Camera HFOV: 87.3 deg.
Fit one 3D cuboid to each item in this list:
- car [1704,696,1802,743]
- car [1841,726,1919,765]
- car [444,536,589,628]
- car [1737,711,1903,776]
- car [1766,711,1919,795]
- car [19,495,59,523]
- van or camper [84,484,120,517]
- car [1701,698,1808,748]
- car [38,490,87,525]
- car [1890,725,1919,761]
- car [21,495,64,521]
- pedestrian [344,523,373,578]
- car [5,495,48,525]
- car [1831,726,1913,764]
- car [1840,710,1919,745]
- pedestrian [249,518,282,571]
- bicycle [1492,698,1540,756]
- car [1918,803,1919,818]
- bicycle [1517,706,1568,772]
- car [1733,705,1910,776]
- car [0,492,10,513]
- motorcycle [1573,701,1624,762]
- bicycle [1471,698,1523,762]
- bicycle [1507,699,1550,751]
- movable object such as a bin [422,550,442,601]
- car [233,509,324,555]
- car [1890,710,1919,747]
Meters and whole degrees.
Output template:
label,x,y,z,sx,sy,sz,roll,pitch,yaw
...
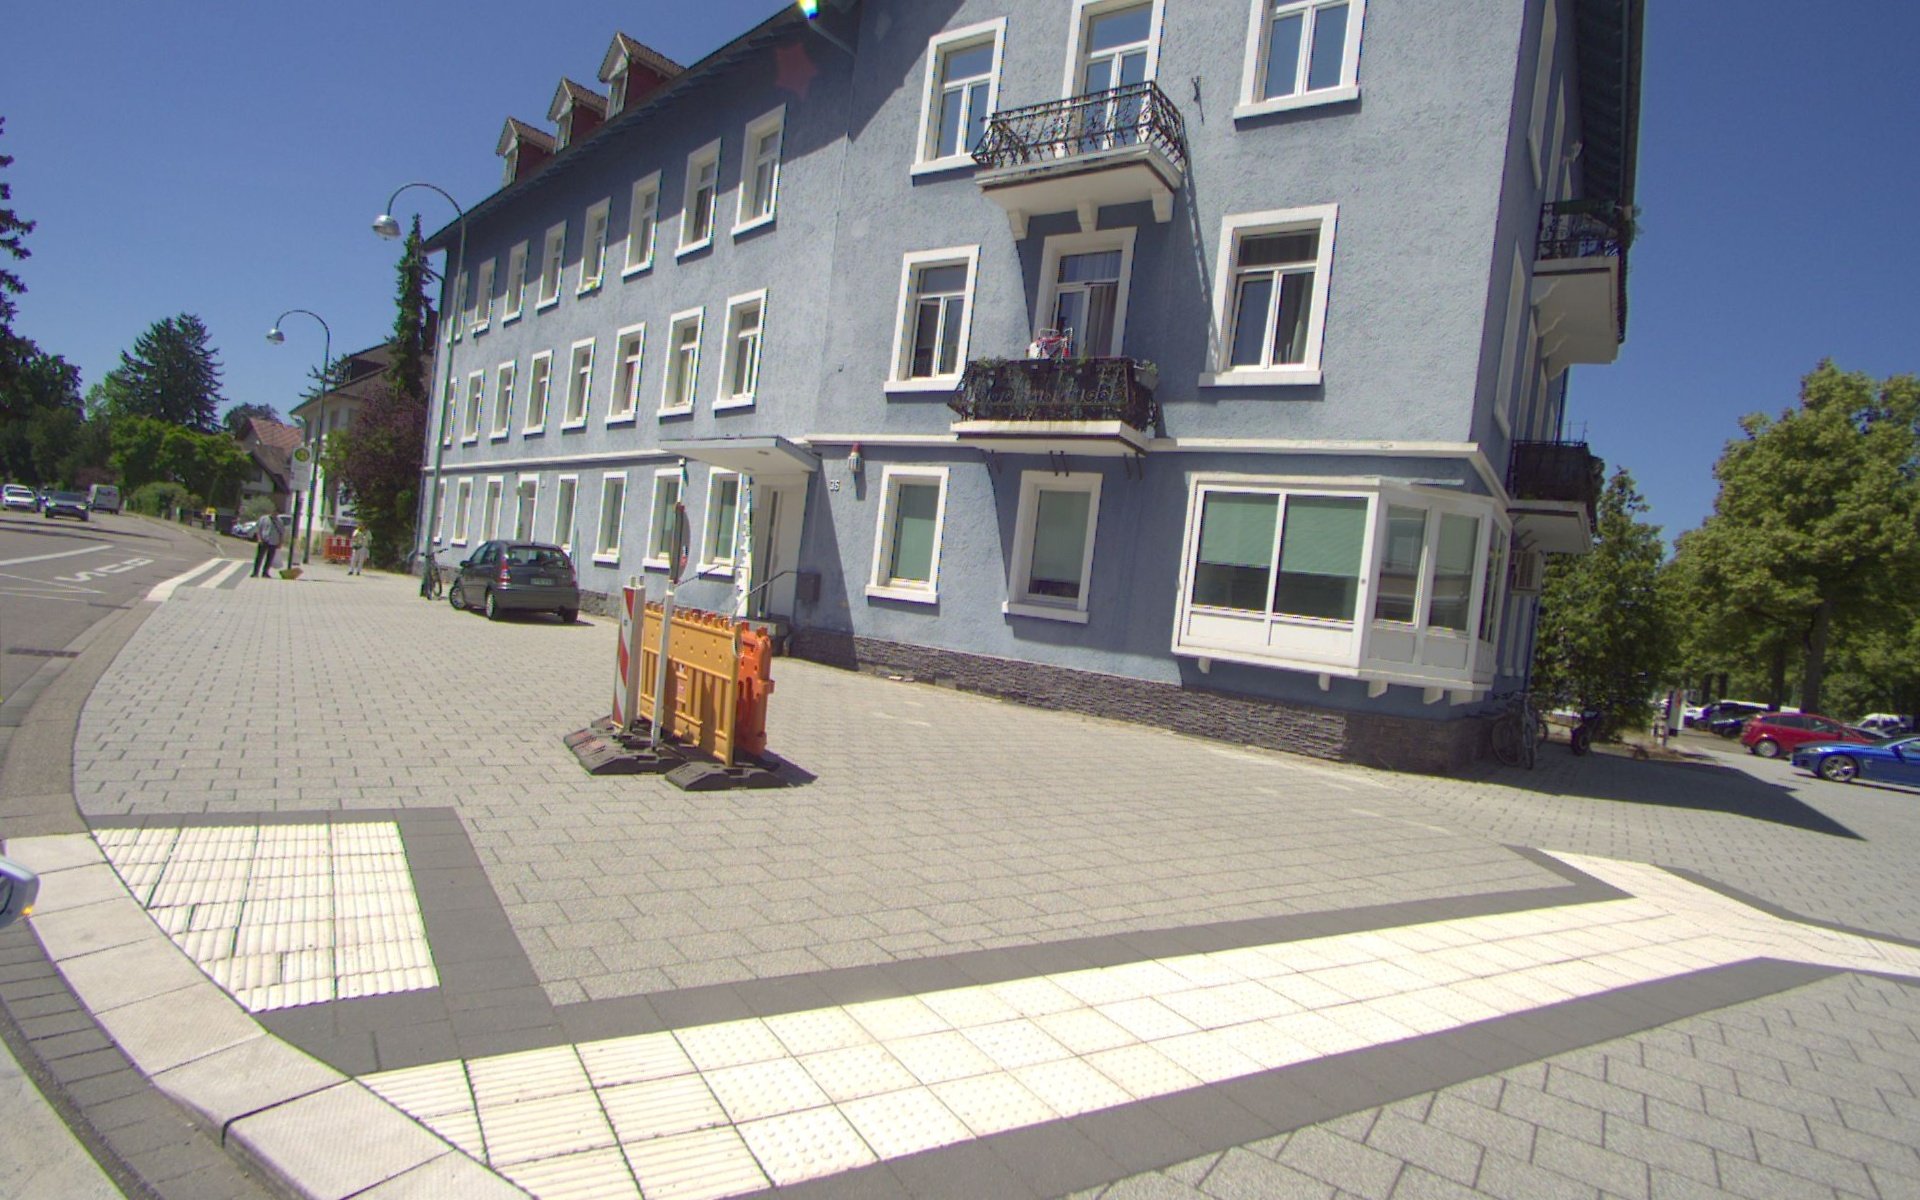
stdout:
label,x,y,z,sx,sy,sz,roll,pitch,yaw
car,43.421,6.508,55.205,3.936,1.884,1.993,7,2,34
car,64.281,10.119,70.038,3.931,2.038,1.998,7,0,29
car,-8.949,-0.395,20.171,1.632,1.528,3.522,3,3,-41
car,29.126,4.821,34.259,3.936,1.464,1.995,7,-1,34
car,22.143,3.752,23.845,4.395,1.496,1.906,7,-4,31
car,-67.150,-6.618,73.378,1.987,1.671,3.952,8,-1,-42
van or camper,-80.190,-9.262,93.957,2.199,2.642,3.951,7,-1,-43
car,39.947,6.194,50.705,3.937,1.880,1.997,6,-3,35
car,-53.789,-5.532,60.328,1.987,1.737,3.953,8,-1,-42
car,61.017,9.134,62.688,3.931,2.038,1.998,7,0,29
car,-86.224,-8.657,94.563,3.936,2.038,1.995,6,-1,34
pedestrian,-18.501,-1.520,30.942,0.661,1.615,0.581,2,3,-34
car,-63.636,-6.146,68.613,1.987,1.671,3.952,8,-1,-42
car,66.813,10.591,73.779,3.931,2.038,1.998,7,0,29
car,72.198,9.956,78.177,5.187,2.038,2.233,7,-1,32
pedestrian,-17.947,-1.432,26.007,0.661,1.303,0.581,3,3,-34
bicycle,10.061,2.275,18.175,0.473,0.918,1.708,9,1,35
car,15.678,2.672,14.493,1.876,1.764,4.239,8,0,35
bicycle,9.198,2.170,15.859,0.433,0.918,1.708,9,1,35
car,27.481,4.446,32.284,3.936,1.548,1.995,7,-1,34
car,-99.127,-10.128,102.719,3.933,2.038,1.997,7,-1,31
motorcycle,12.795,2.619,20.143,0.578,1.064,1.900,9,1,37
bicycle,8.693,2.078,16.252,0.433,0.918,1.708,9,1,35
bicycle,11.332,2.471,20.033,0.473,0.918,1.708,9,1,35
movable object such as a bin,-12.204,-0.577,23.255,0.280,1.138,1.176,5,1,-30
car,-40.167,-3.978,59.357,1.973,2.038,3.981,7,-1,42
car,58.146,7.816,59.079,4.665,2.038,1.996,7,0,32
